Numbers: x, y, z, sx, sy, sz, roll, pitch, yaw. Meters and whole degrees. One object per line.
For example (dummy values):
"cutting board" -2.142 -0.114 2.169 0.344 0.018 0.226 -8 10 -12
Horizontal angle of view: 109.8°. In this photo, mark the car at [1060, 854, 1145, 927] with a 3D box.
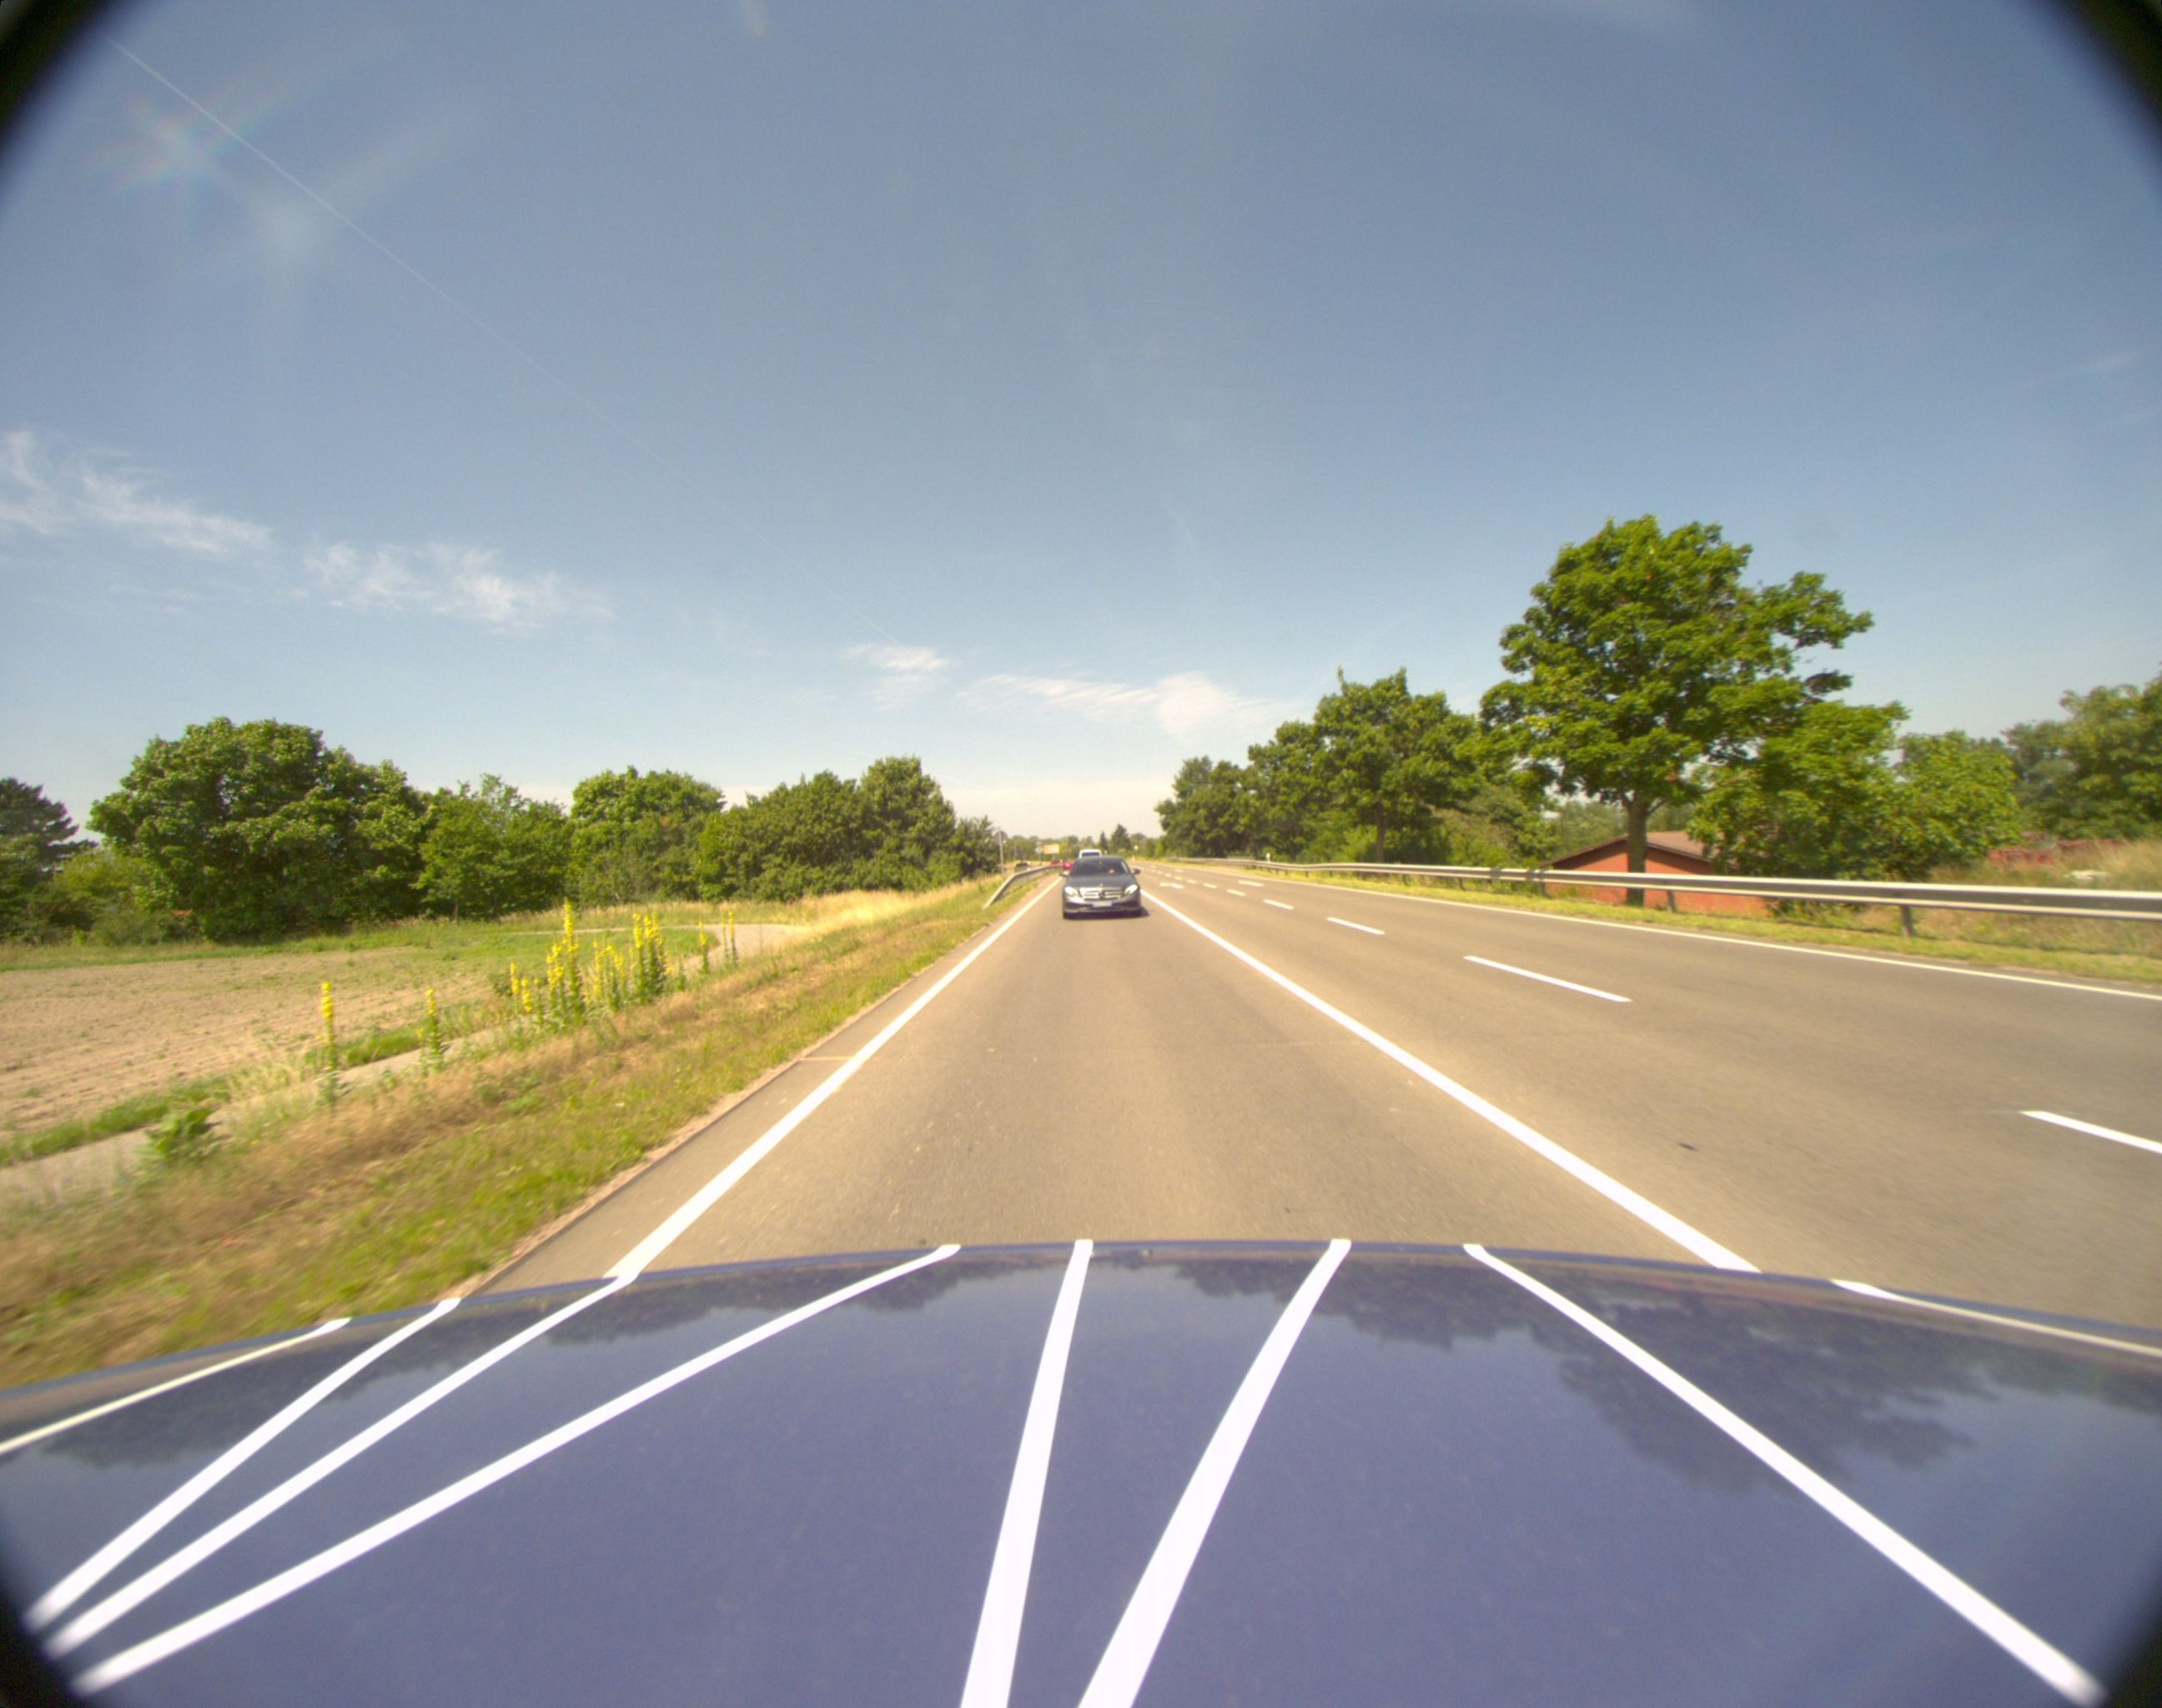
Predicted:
"car" 0.620 0.823 19.362 1.831 1.540 4.499 -3 0 3

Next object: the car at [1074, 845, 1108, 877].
"car" 0.812 0.484 57.043 2.179 2.002 5.025 -6 0 3
